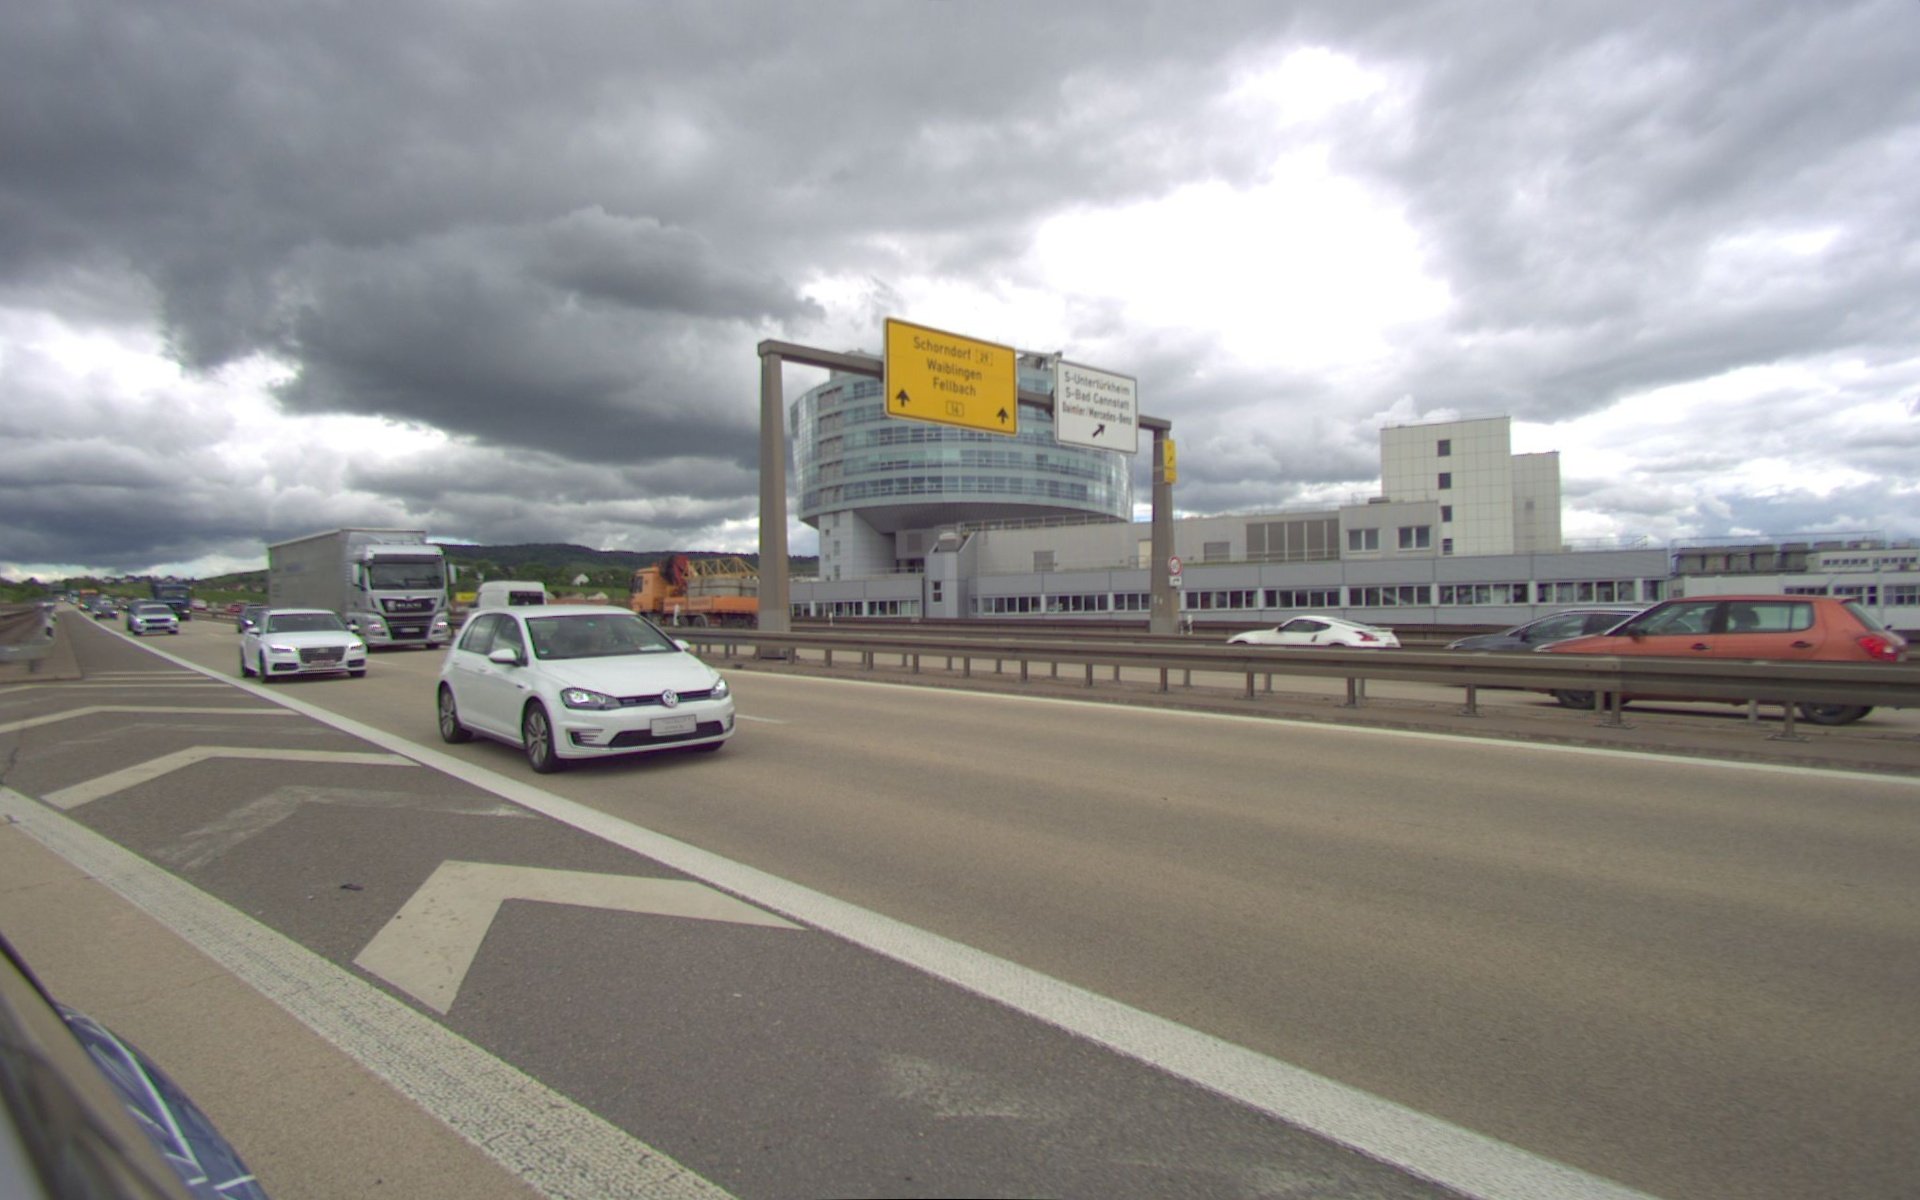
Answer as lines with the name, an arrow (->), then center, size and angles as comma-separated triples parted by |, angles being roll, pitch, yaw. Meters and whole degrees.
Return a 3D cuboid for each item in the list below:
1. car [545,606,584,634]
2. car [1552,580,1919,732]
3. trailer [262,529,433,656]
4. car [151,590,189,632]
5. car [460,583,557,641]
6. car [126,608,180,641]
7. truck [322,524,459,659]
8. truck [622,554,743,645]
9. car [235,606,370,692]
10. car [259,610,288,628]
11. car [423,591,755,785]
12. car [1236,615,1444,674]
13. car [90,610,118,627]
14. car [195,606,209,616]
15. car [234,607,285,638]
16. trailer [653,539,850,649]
car -> -32.791, 1.659, 83.833 | 1.968, 2.028, 4.010 | -7, 4, -35
car -> 9.490, 0.607, 12.265 | 1.673, 1.563, 3.648 | 2, -2, -40
trailer -> -23.657, -0.238, 38.502 | 2.822, 4.041, 13.989 | -1, 1, -43
car -> -72.470, 1.006, 92.845 | 2.329, 3.688, 4.805 | -3, 1, -41
car -> -22.140, 0.589, 49.498 | 2.547, 2.664, 6.198 | 0, -1, -42
car -> -44.556, 1.349, 55.838 | 1.970, 1.695, 4.004 | -1, 0, -43
truck -> -18.700, -0.270, 33.108 | 2.822, 4.041, 4.797 | -1, 1, -43
truck -> -11.481, 0.084, 41.681 | 2.709, 3.506, 5.110 | 3, -3, -43
car -> -13.710, 0.952, 21.002 | 1.761, 1.529, 4.005 | -2, 1, -41
car -> -61.845, 1.706, 91.130 | 1.625, 1.603, 3.690 | 2, -3, -42
car -> -3.830, 0.722, 10.033 | 1.688, 1.508, 4.004 | -1, 0, -42
car -> 8.702, 1.017, 23.501 | 1.622, 1.244, 4.287 | 2, -3, -40
car -> -89.820, 1.988, 106.223 | 1.967, 1.695, 4.009 | -1, 0, -37
car -> -131.844, 1.919, 175.967 | 1.663, 1.529, 3.655 | -4, 1, -41
car -> -38.338, 1.224, 55.358 | 1.761, 1.529, 4.005 | -4, 1, -41
trailer -> -8.072, -0.052, 38.080 | 2.702, 3.664, 9.364 | 3, -3, -44
